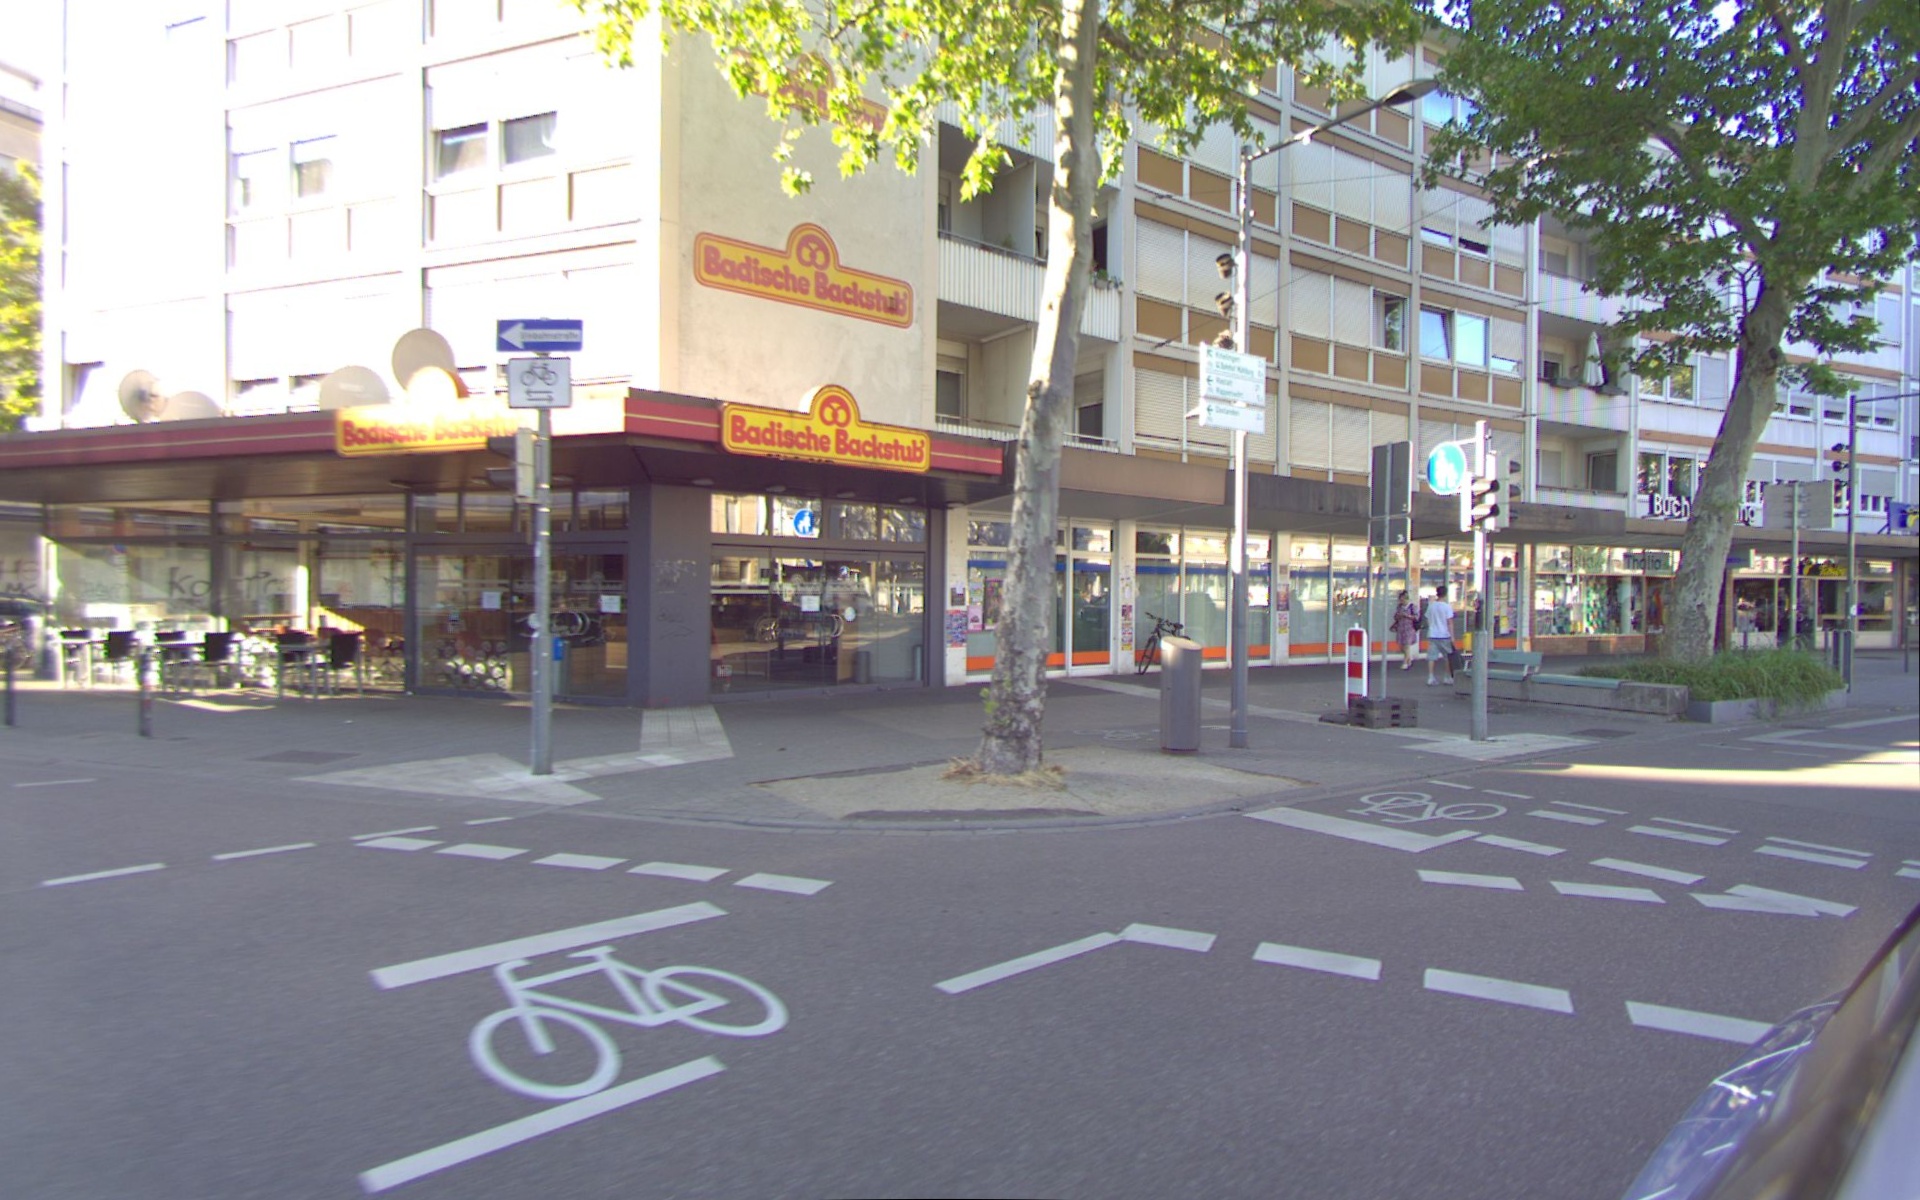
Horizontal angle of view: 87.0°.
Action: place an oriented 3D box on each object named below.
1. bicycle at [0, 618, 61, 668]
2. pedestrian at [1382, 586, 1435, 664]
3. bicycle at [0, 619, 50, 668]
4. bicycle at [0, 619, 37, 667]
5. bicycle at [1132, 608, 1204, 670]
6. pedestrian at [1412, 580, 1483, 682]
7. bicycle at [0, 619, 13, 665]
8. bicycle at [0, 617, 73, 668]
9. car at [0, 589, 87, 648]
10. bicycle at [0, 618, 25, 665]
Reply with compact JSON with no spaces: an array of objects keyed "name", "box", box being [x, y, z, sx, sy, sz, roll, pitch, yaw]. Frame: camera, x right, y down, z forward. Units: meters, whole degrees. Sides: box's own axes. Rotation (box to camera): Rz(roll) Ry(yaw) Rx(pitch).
[{"name":"bicycle","box":[-19.599,0.890,20.897,0.352,0.994,1.597,-1,0,19]},{"name":"pedestrian","box":[9.422,0.509,21.251,0.791,1.571,0.642,0,1,-30]},{"name":"bicycle","box":[-19.986,0.907,21.054,0.352,0.994,1.597,-1,0,19]},{"name":"bicycle","box":[-20.381,0.910,21.190,0.352,0.994,1.597,-1,0,19]},{"name":"bicycle","box":[3.923,0.715,19.043,1.434,1.106,0.439,0,2,-36]},{"name":"pedestrian","box":[8.667,0.527,18.000,0.779,1.733,0.837,1,2,-41]},{"name":"bicycle","box":[-21.157,0.909,21.449,0.352,0.994,1.597,-1,0,19]},{"name":"bicycle","box":[-19.228,0.856,20.766,0.352,0.994,1.597,-1,0,19]},{"name":"car","box":[-26.774,0.501,27.956,1.640,1.608,3.703,1,0,23]},{"name":"bicycle","box":[-20.756,0.883,21.321,0.352,0.994,1.597,-1,0,19]}]
